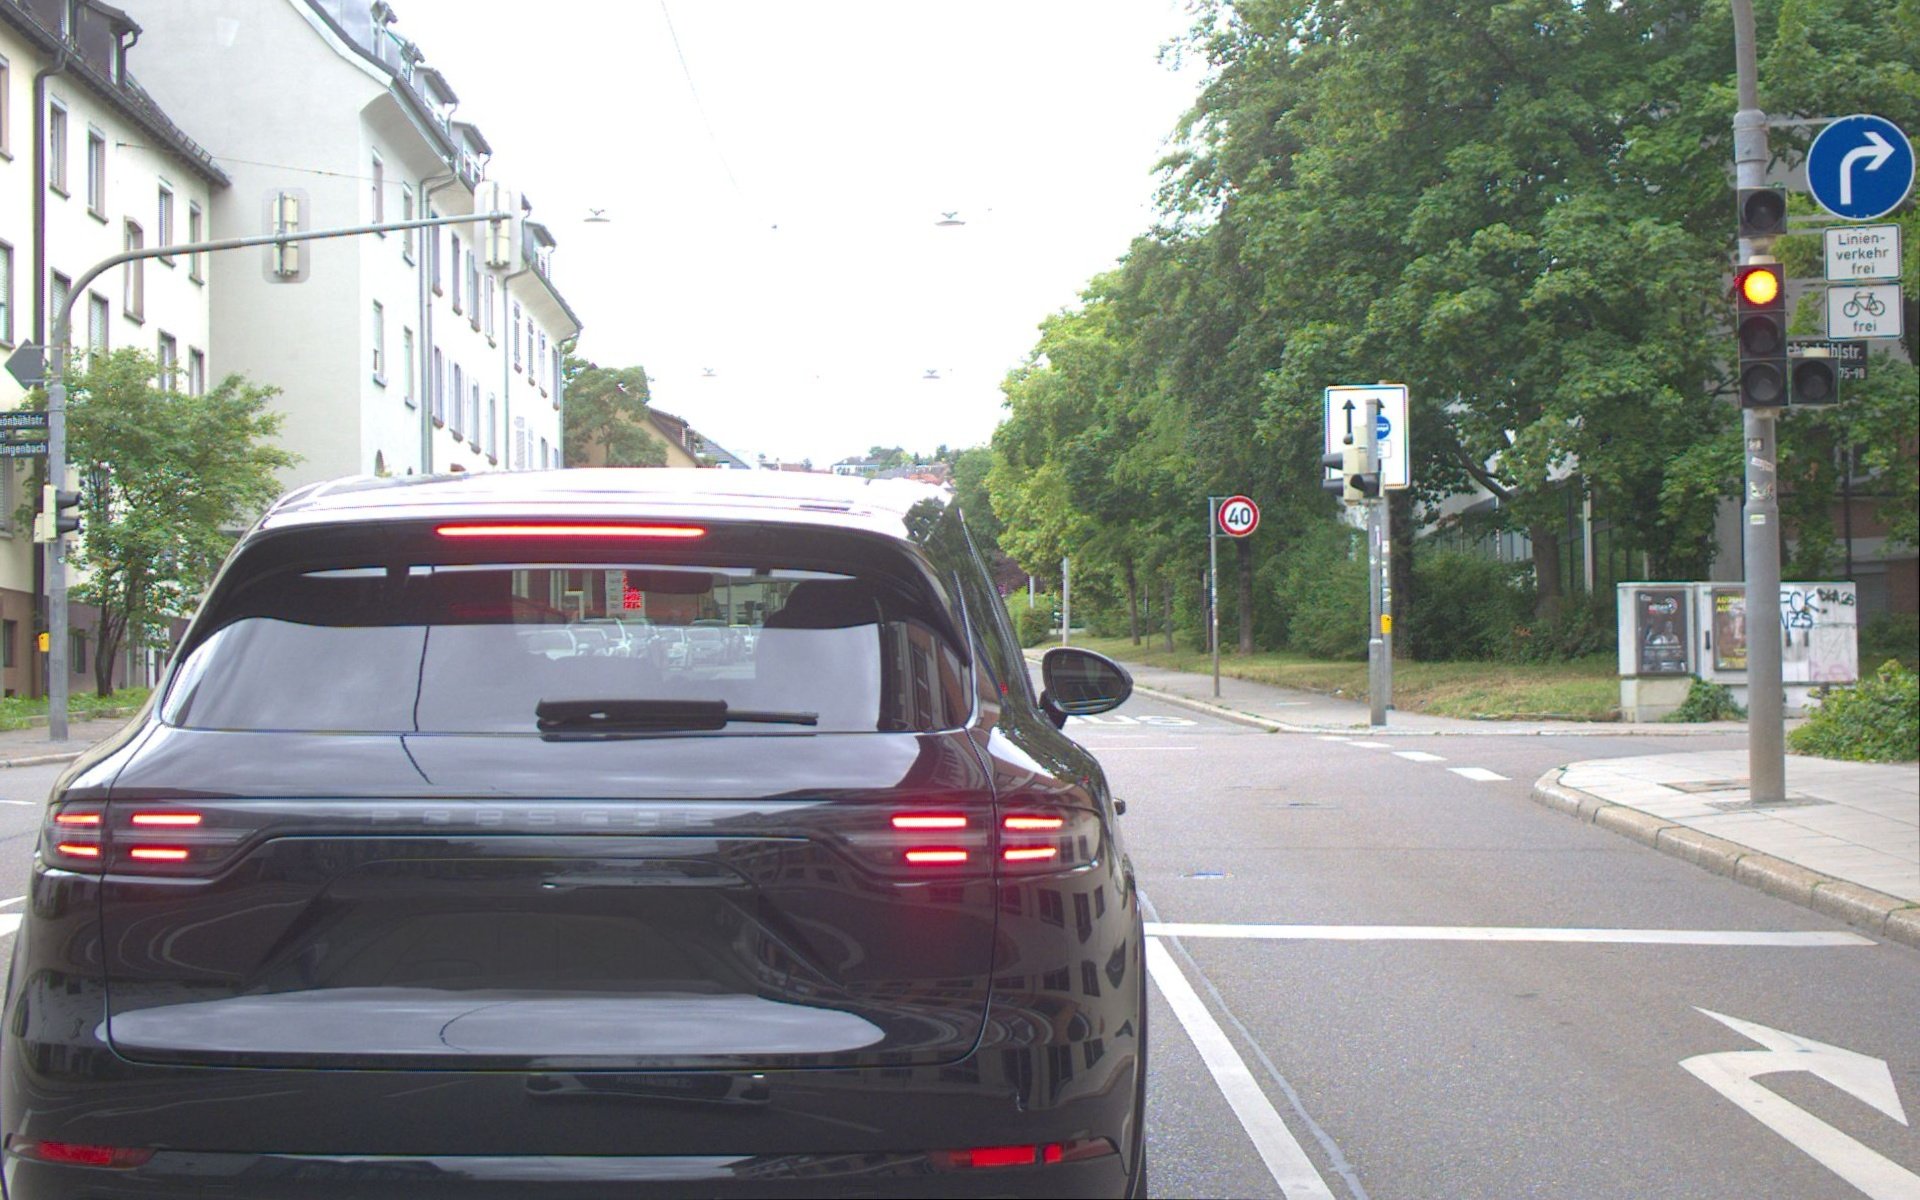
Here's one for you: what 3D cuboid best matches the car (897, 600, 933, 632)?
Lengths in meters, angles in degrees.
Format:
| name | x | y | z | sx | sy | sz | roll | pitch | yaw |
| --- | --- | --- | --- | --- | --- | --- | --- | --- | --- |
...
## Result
| name | x | y | z | sx | sy | sz | roll | pitch | yaw |
| --- | --- | --- | --- | --- | --- | --- | --- | --- | --- |
| car | -2.369 | 0.838 | 182.490 | 1.827 | 1.599 | 4.135 | 1 | 1 | 0 |

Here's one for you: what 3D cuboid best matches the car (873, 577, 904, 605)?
| name | x | y | z | sx | sy | sz | roll | pitch | yaw |
| --- | --- | --- | --- | --- | --- | --- | --- | --- | --- |
| car | -4.363 | -0.559 | 210.276 | 1.827 | 1.599 | 4.135 | 1 | 1 | 0 |

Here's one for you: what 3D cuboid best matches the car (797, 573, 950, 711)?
| name | x | y | z | sx | sy | sz | roll | pitch | yaw |
| --- | --- | --- | --- | --- | --- | --- | --- | --- | --- |
| car | -1.065 | 0.497 | 43.827 | 1.827 | 1.599 | 4.135 | 1 | 1 | 0 |

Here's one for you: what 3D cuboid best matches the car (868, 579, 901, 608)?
| name | x | y | z | sx | sy | sz | roll | pitch | yaw |
| --- | --- | --- | --- | --- | --- | --- | --- | --- | --- |
| car | -4.463 | -0.405 | 202.950 | 1.827 | 1.599 | 4.135 | 1 | 1 | 0 |

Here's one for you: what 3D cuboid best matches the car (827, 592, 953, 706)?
| name | x | y | z | sx | sy | sz | roll | pitch | yaw |
| --- | --- | --- | --- | --- | --- | --- | --- | --- | --- |
| car | -1.039 | 0.719 | 52.545 | 1.827 | 1.599 | 3.859 | 1 | 1 | 0 |

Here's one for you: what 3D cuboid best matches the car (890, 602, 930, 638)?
| name | x | y | z | sx | sy | sz | roll | pitch | yaw |
| --- | --- | --- | --- | --- | --- | --- | --- | --- | --- |
| car | -2.363 | 0.950 | 163.314 | 1.827 | 1.599 | 4.135 | 1 | 1 | 0 |

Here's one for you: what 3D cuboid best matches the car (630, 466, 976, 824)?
| name | x | y | z | sx | sy | sz | roll | pitch | yaw |
| --- | --- | --- | --- | --- | --- | --- | --- | --- | --- |
| car | -0.918 | 0.223 | 21.902 | 1.965 | 2.035 | 4.135 | 1 | 1 | 0 |

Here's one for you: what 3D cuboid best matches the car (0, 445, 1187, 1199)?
| name | x | y | z | sx | sy | sz | roll | pitch | yaw |
| --- | --- | --- | --- | --- | --- | --- | --- | --- | --- |
| car | -0.712 | 0.574 | 7.255 | 2.048 | 1.660 | 4.267 | 1 | 1 | 0 |
